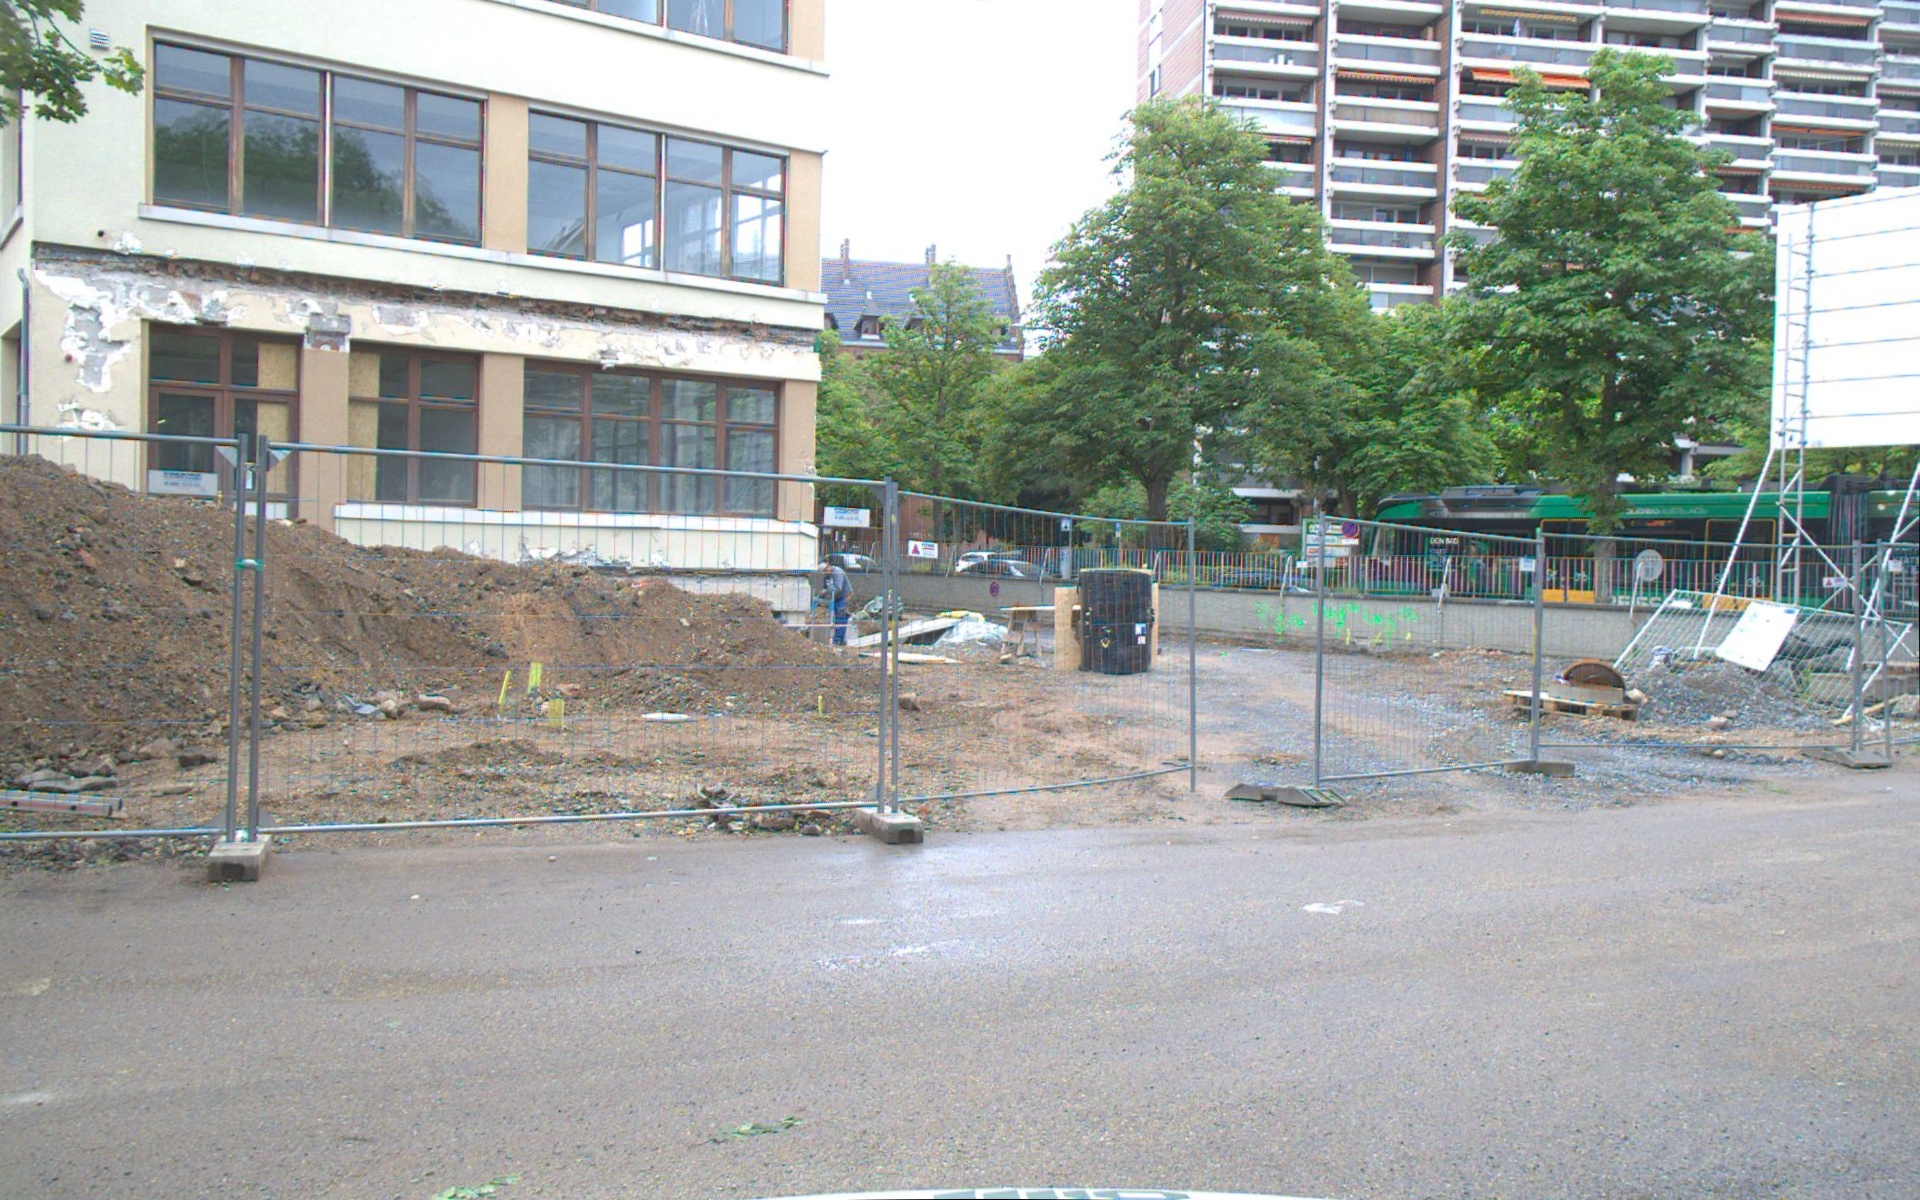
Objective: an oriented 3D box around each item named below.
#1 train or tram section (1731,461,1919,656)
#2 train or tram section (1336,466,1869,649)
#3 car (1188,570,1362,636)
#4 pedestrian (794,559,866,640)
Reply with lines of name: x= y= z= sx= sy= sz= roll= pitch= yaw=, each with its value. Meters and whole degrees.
train or tram section: x=20.618 y=-0.694 z=30.044 sx=2.637 sy=3.677 sz=12.307 roll=1 pitch=2 yaw=-35
train or tram section: x=14.450 y=-1.051 z=38.978 sx=2.637 sy=3.677 sz=12.307 roll=1 pitch=2 yaw=-35
car: x=7.493 y=0.044 z=39.655 sx=1.812 sy=1.443 sz=3.951 roll=0 pitch=1 yaw=-35
pedestrian: x=-2.417 y=-0.012 z=30.792 sx=0.973 sy=1.462 sz=0.918 roll=1 pitch=1 yaw=-39
